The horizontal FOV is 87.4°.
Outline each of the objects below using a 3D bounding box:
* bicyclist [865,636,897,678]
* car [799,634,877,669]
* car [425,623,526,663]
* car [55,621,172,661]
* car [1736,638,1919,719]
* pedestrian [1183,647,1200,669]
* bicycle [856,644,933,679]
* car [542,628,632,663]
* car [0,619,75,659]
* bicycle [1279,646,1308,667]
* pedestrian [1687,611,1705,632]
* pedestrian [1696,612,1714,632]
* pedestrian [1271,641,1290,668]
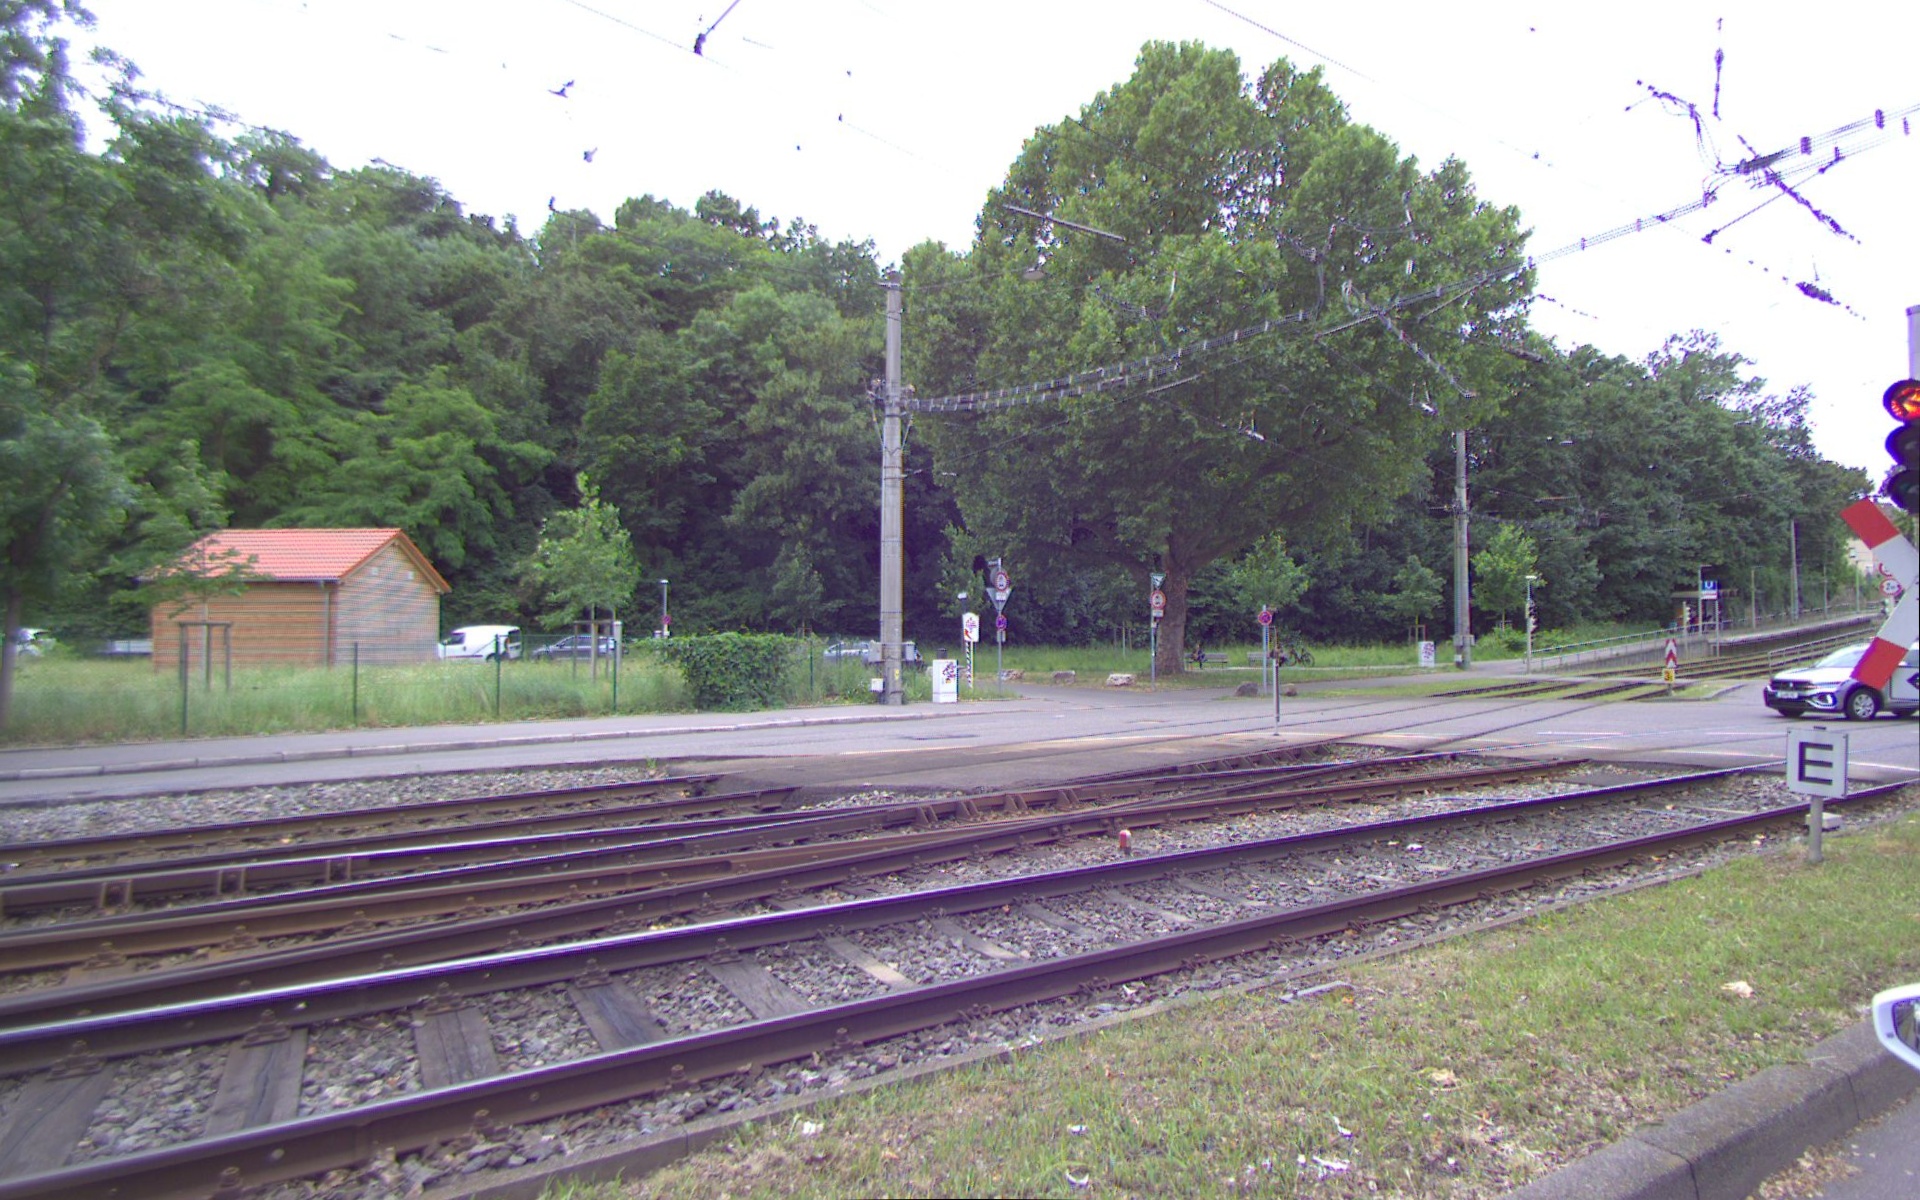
[{"bbox_3d":[-3.460,2.489,44.040,1.271,1.734,0.733,-2,2,-15],"label":"bicyclist"},{"bbox_3d":[-5.652,2.383,46.857,3.436,1.443,1.700,2,0,-3],"label":"car"},{"bbox_3d":[-21.906,1.936,45.532,3.610,1.634,1.909,2,0,-3],"label":"car"},{"bbox_3d":[-37.593,1.817,44.689,3.610,1.634,1.757,2,0,-3],"label":"car"},{"bbox_3d":[19.077,1.598,21.041,4.096,1.599,2.000,0,-2,-2],"label":"car"},{"bbox_3d":[11.136,2.792,48.355,0.610,1.003,0.530,2,0,-15],"label":"pedestrian"},{"bbox_3d":[-2.868,2.696,44.212,3.290,1.307,0.733,-2,2,-15],"label":"bicycle"},{"bbox_3d":[-16.859,2.037,45.476,3.436,1.443,1.700,2,0,-3],"label":"car"},{"bbox_3d":[-41.785,1.689,44.368,3.612,1.634,1.756,2,0,-6],"label":"car"},{"bbox_3d":[16.393,2.781,49.431,0.611,0.897,1.743,2,0,-10],"label":"bicycle"},{"bbox_3d":[48.902,1.434,66.756,0.780,1.344,0.766,-1,2,-37],"label":"pedestrian"},{"bbox_3d":[50.003,1.470,67.433,0.780,1.344,0.766,2,0,-38],"label":"pedestrian"},{"bbox_3d":[15.581,2.658,48.836,0.662,1.251,0.578,2,0,-16],"label":"pedestrian"}]
